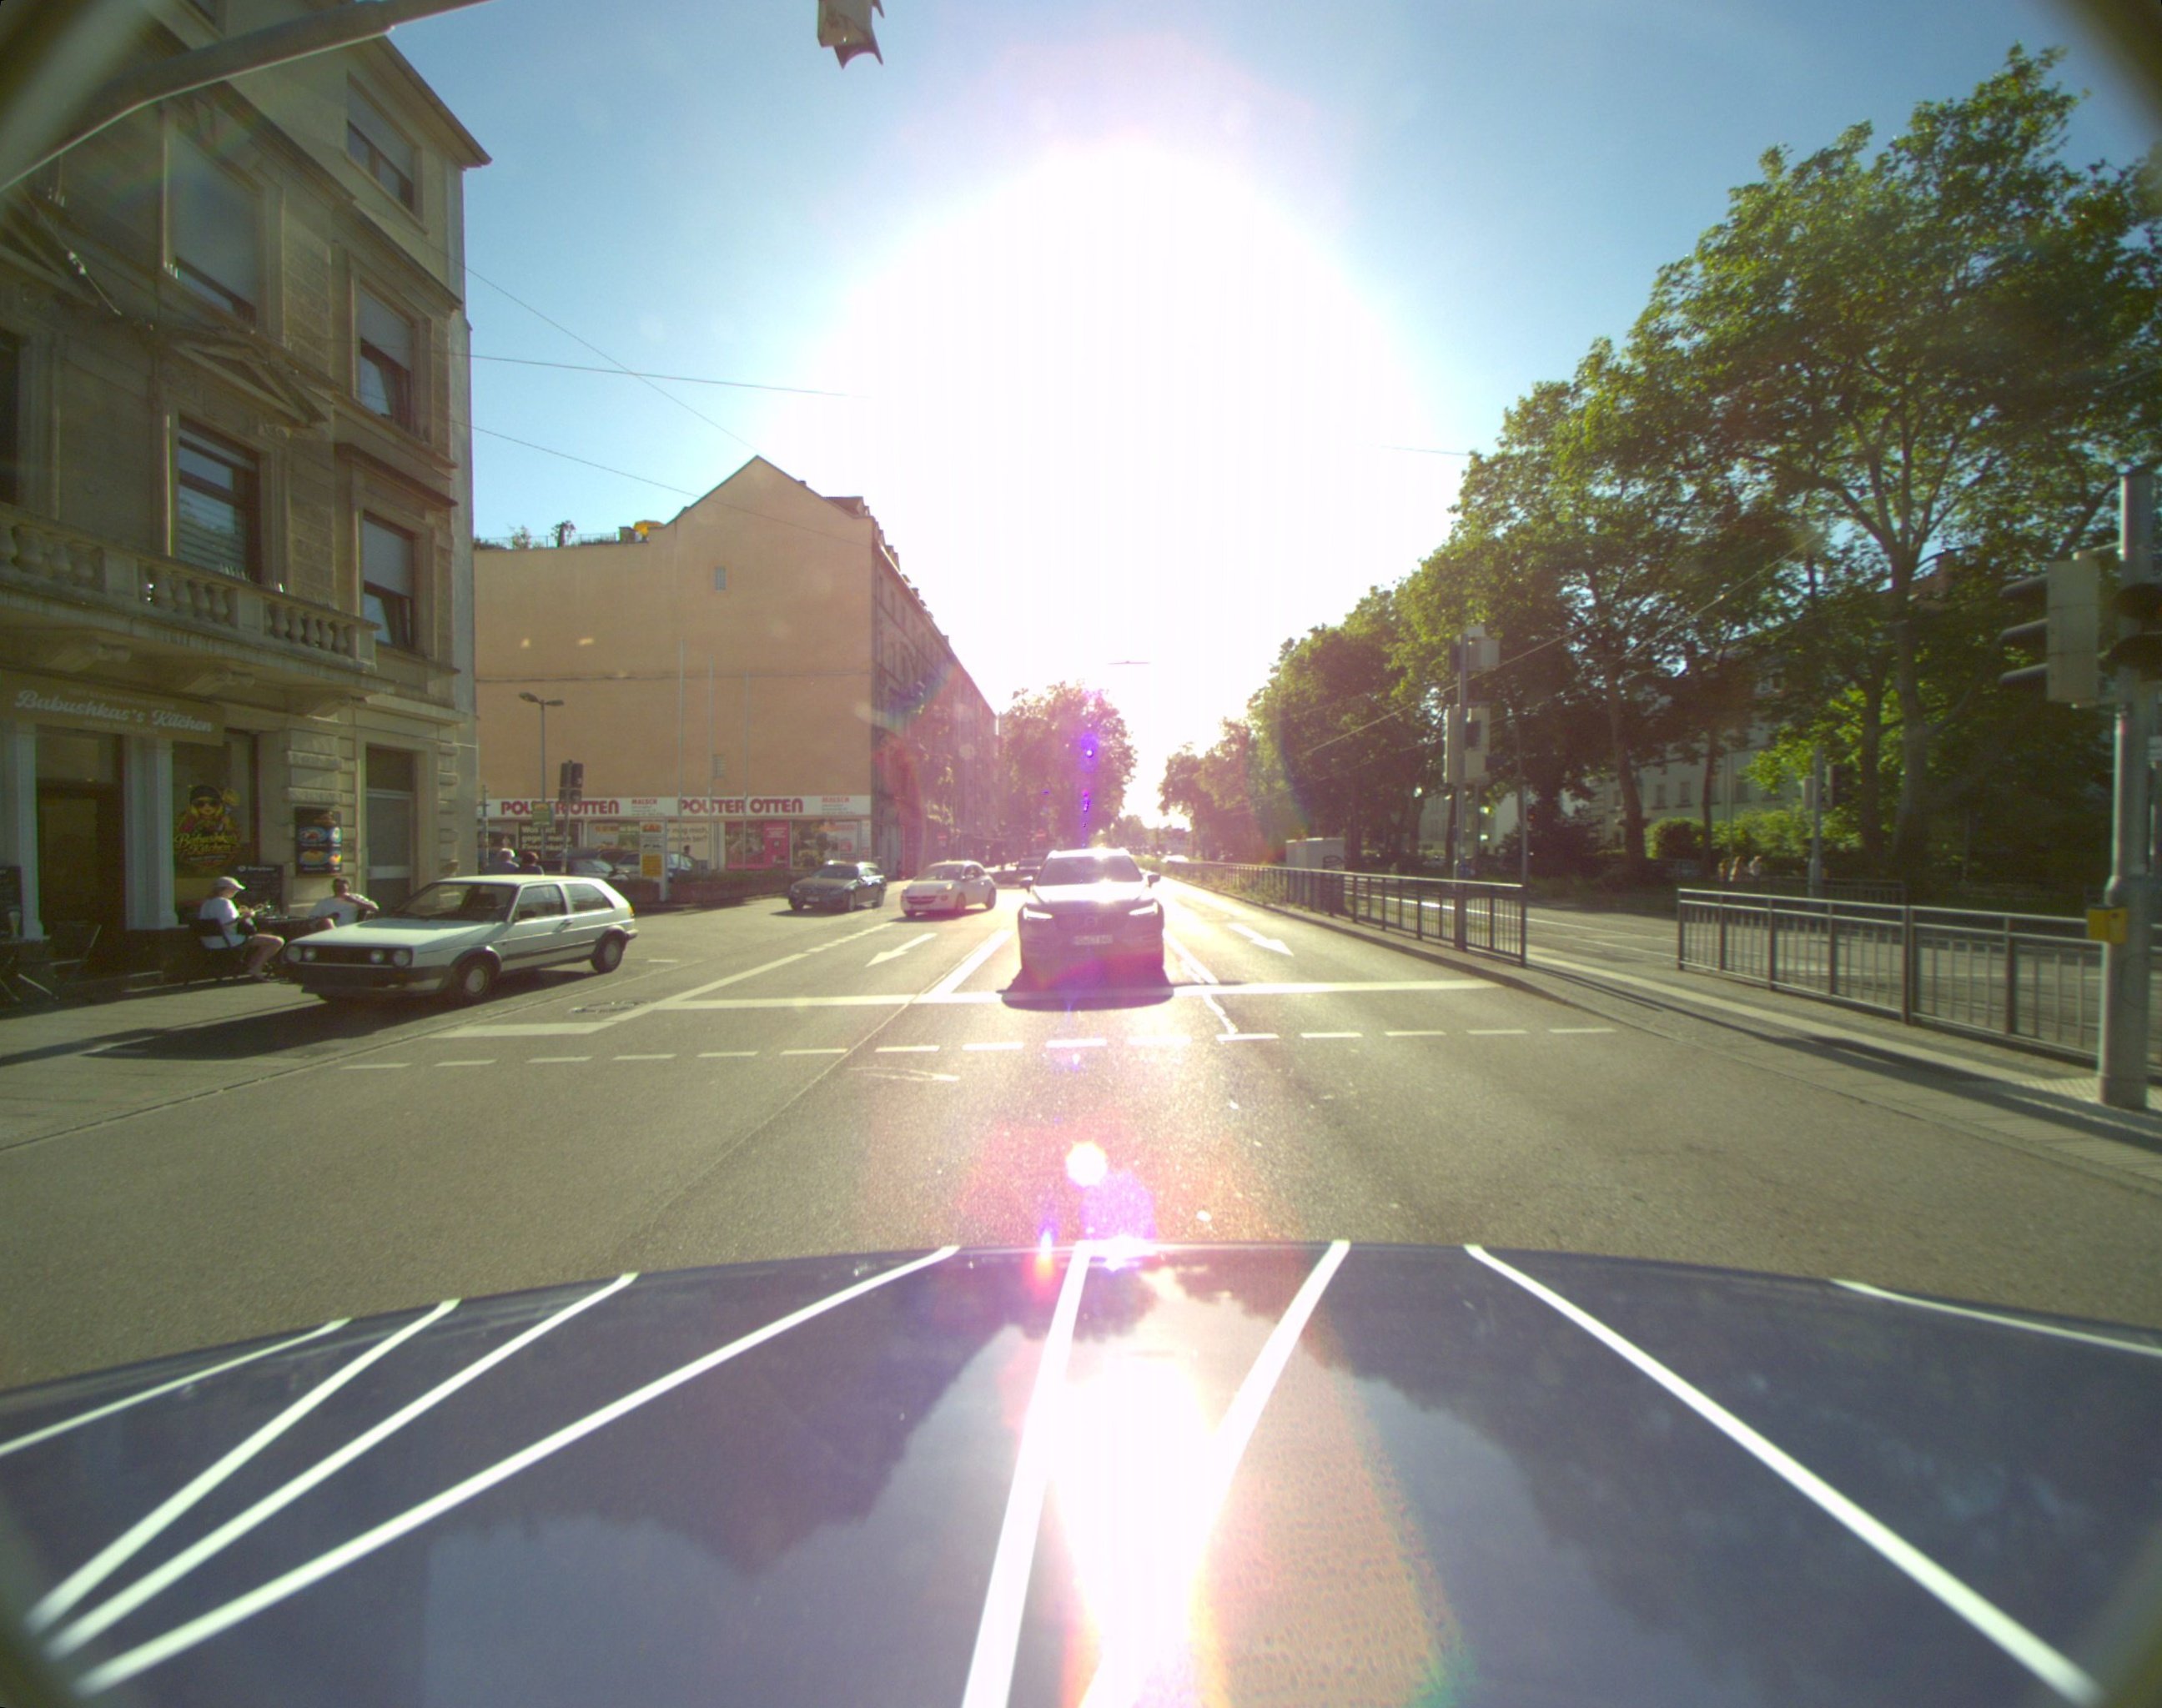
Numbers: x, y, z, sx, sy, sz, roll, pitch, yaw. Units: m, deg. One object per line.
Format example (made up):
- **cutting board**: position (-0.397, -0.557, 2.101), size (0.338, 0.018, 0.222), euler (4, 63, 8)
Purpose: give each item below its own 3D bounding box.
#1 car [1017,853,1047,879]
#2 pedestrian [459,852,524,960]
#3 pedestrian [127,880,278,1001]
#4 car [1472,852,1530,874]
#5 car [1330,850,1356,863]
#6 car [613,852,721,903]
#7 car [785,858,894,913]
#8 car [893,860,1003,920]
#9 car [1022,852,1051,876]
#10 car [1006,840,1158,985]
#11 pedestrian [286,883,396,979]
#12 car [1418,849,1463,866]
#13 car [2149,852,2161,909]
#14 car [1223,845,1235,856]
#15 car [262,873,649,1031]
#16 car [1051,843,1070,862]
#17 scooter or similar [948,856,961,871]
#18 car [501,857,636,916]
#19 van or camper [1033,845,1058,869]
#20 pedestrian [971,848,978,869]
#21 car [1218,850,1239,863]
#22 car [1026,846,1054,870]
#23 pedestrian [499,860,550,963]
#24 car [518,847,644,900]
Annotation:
- **car**: position (-3.167, 0.759, 49.590), size (1.645, 1.509, 3.999), euler (-3, 1, 0)
- **pedestrian**: position (-10.015, 0.866, 12.917), size (0.674, 1.796, 0.530), euler (1, 1, 1)
- **pedestrian**: position (-10.602, 1.020, 9.203), size (1.017, 1.364, 0.655), euler (2, 1, -4)
- **car**: position (29.173, 0.577, 52.962), size (1.739, 1.432, 4.319), euler (0, 0, 2)
- **car**: position (30.260, 0.249, 87.871), size (1.801, 1.464, 4.000), euler (-1, 0, 2)
- **car**: position (-14.581, 0.775, 27.017), size (1.749, 1.635, 3.998), euler (0, 1, -2)
- **car**: position (-7.704, 0.943, 24.763), size (1.837, 1.478, 4.734), euler (2, 1, 2)
- **car**: position (-3.776, 0.991, 22.223), size (1.605, 1.446, 3.785), euler (-2, 1, 16)
- **car**: position (-3.135, 0.701, 54.041), size (1.743, 1.509, 3.999), euler (-3, 1, 0)
- **car**: position (0.102, 0.718, 11.777), size (1.876, 1.788, 4.633), euler (-1, 0, 2)
- **pedestrian**: position (-10.426, 1.067, 10.728), size (0.903, 1.274, 0.655), euler (1, 1, -4)
- **car**: position (29.526, 0.259, 62.584), size (1.644, 1.316, 4.461), euler (2, 1, 2)
- **car**: position (29.034, 0.700, 17.981), size (1.673, 1.501, 4.144), euler (0, 1, 0)
- **car**: position (30.563, -0.701, 157.098), size (1.998, 2.002, 4.002), euler (-3, 0, 6)
- **car**: position (-7.550, 1.052, 9.783), size (1.566, 1.407, 4.004), euler (3, 1, 1)
- **car**: position (-2.616, -0.208, 98.001), size (2.079, 2.420, 5.856), euler (-1, 0, 2)
- **scooter or similar**: position (-9.930, 0.738, 59.632), size (0.638, 1.167, 1.731), euler (0, 1, -23)
- **car**: position (-14.253, 0.838, 21.370), size (1.562, 1.477, 3.394), euler (-1, 0, -2)
- **van or camper**: position (-2.993, 0.227, 64.789), size (1.888, 2.002, 5.094), euler (0, 1, 1)
- **pedestrian**: position (-9.323, 0.425, 66.422), size (0.470, 1.822, 0.516), euler (0, 1, 1)
- **car**: position (18.711, 0.292, 96.262), size (1.688, 1.490, 4.342), euler (0, 0, -2)
- **car**: position (-3.163, 0.292, 59.265), size (1.868, 1.753, 4.000), euler (0, 1, 2)
- **pedestrian**: position (-9.372, 0.955, 12.798), size (0.551, 1.698, 0.388), euler (0, 1, 4)
- **car**: position (-17.212, 0.608, 26.408), size (1.749, 1.683, 3.999), euler (0, 1, -1)
